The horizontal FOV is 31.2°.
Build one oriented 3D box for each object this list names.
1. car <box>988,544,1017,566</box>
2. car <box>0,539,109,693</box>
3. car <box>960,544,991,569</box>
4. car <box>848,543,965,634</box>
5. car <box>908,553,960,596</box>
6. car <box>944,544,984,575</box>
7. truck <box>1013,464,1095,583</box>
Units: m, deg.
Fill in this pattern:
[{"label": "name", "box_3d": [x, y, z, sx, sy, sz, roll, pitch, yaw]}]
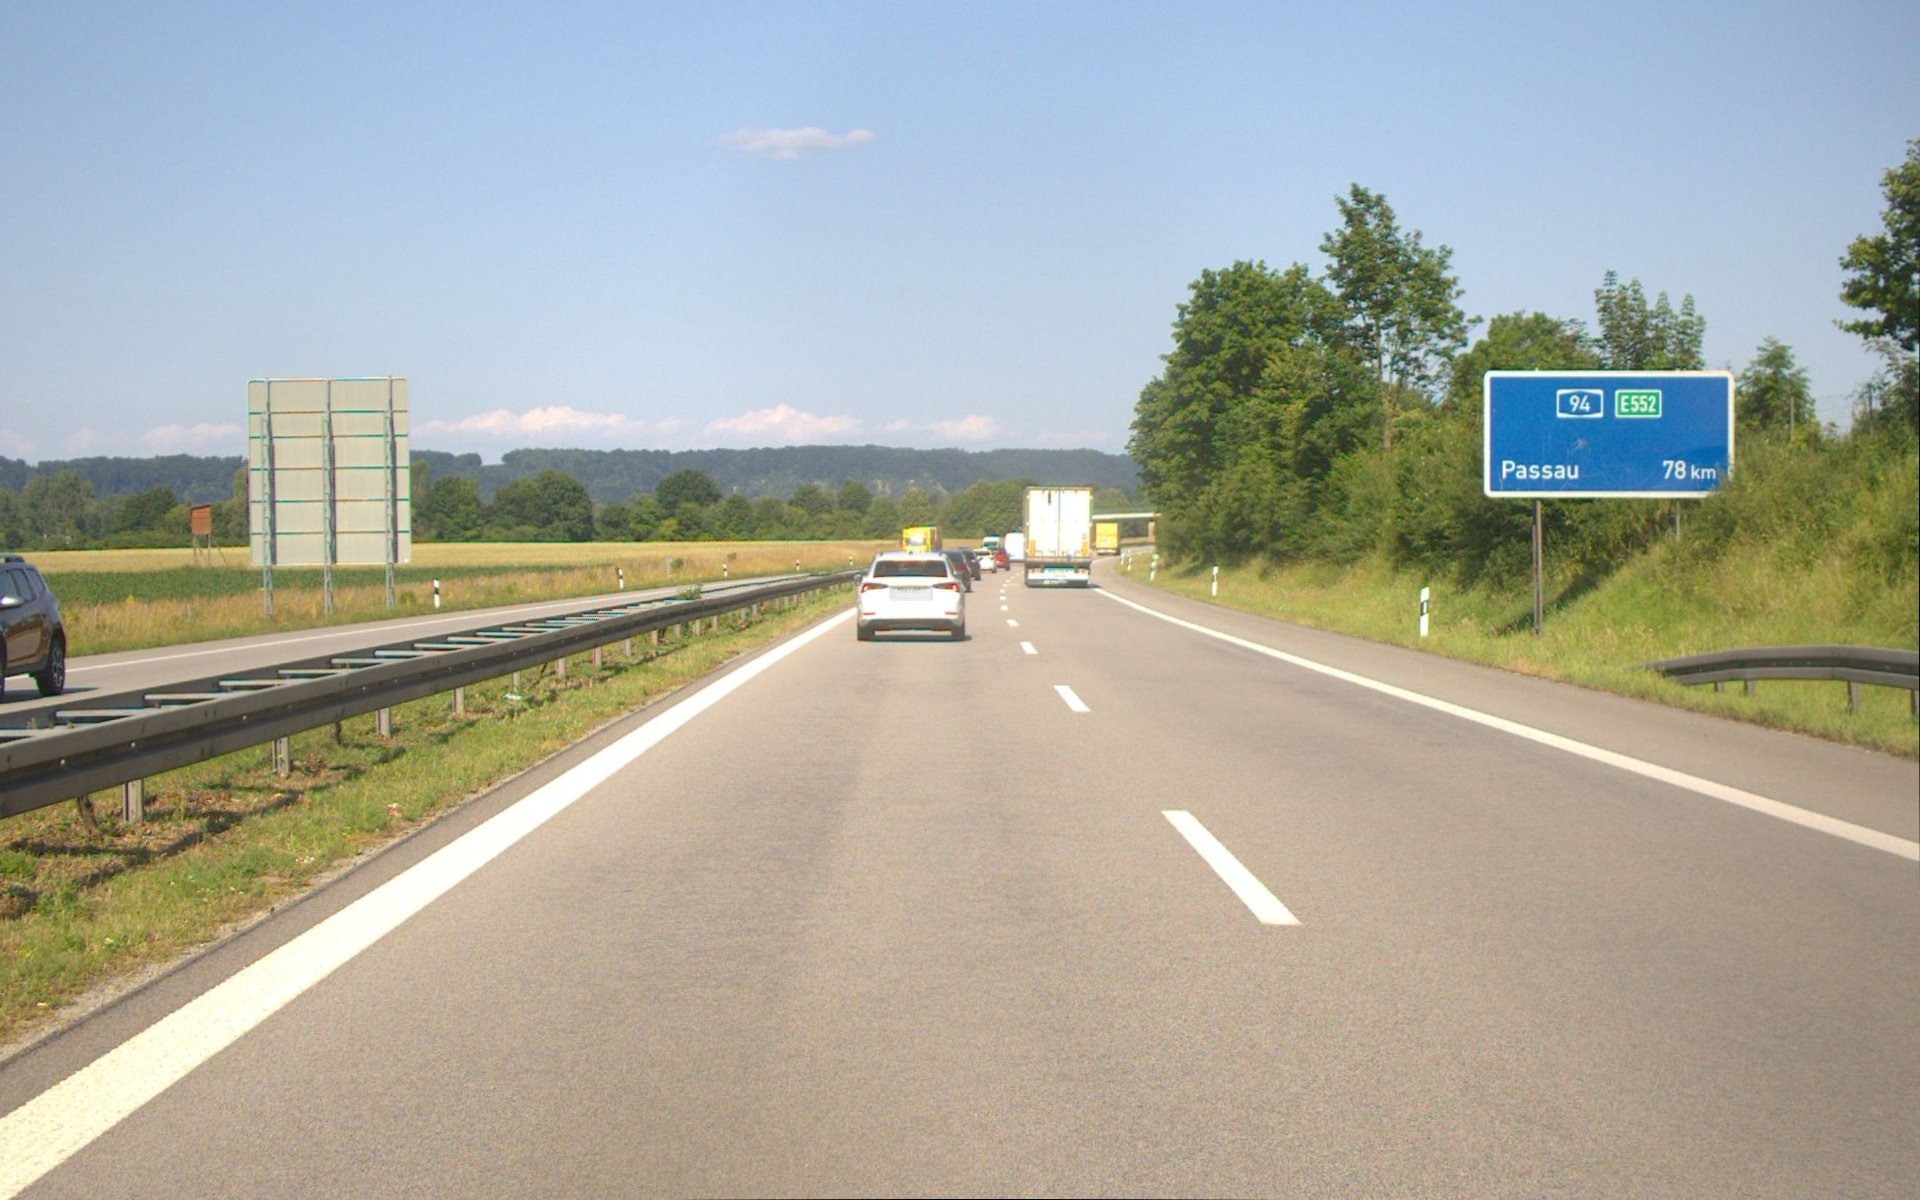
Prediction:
[{"label": "car", "box_3d": [2.789, -2.926, 223.691, 1.771, 1.416, 4.365, 1, 1, 2]}, {"label": "car", "box_3d": [-11.408, 0.170, 39.604, 1.993, 1.656, 4.776, -2, 1, 0]}, {"label": "car", "box_3d": [0.916, -2.576, 203.945, 1.771, 1.416, 4.365, 1, 1, 1]}, {"label": "car", "box_3d": [-0.874, -0.227, 57.530, 1.840, 1.416, 5.255, 1, 1, 0]}, {"label": "car", "box_3d": [-0.903, -0.903, 119.767, 1.771, 1.416, 4.495, 0, 1, 0]}, {"label": "car", "box_3d": [0.212, -1.941, 163.702, 1.771, 1.416, 4.365, 1, 1, 1]}, {"label": "truck", "box_3d": [3.812, -3.064, 138.423, 3.152, 4.596, 8.905, -1, 1, 2]}]
